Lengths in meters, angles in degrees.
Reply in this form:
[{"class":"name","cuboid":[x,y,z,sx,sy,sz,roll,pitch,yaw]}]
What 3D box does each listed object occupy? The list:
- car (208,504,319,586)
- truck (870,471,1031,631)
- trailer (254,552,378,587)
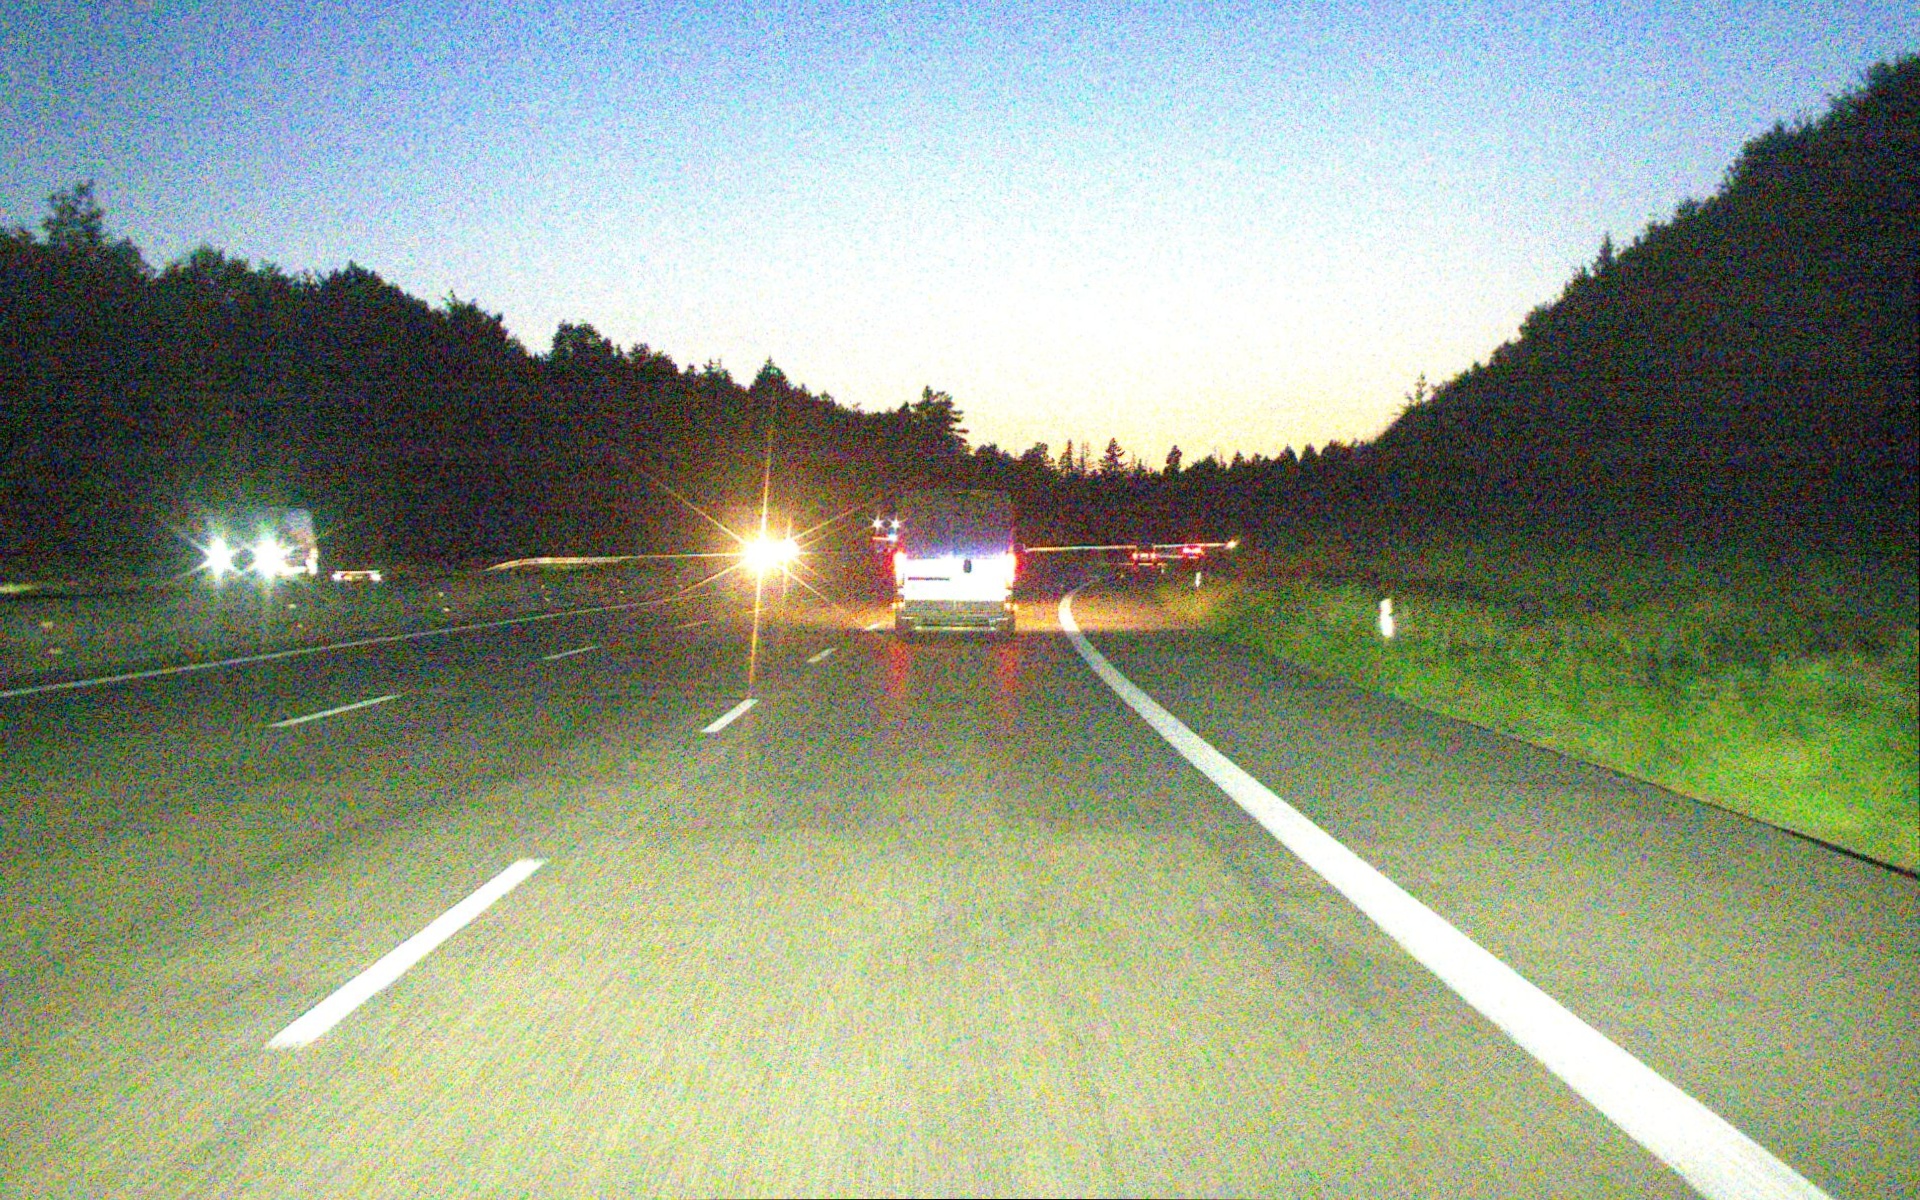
[{"class":"car","cuboid":[-21.947,-1.706,108.520,2.082,2.479,6.242,0,0,1]},{"class":"truck","cuboid":[-0.158,-0.841,60.724,2.630,2.615,8.685,0,0,0]},{"class":"trailer","cuboid":[-21.591,-1.025,115.657,2.415,1.100,8.077,0,0,2]}]
